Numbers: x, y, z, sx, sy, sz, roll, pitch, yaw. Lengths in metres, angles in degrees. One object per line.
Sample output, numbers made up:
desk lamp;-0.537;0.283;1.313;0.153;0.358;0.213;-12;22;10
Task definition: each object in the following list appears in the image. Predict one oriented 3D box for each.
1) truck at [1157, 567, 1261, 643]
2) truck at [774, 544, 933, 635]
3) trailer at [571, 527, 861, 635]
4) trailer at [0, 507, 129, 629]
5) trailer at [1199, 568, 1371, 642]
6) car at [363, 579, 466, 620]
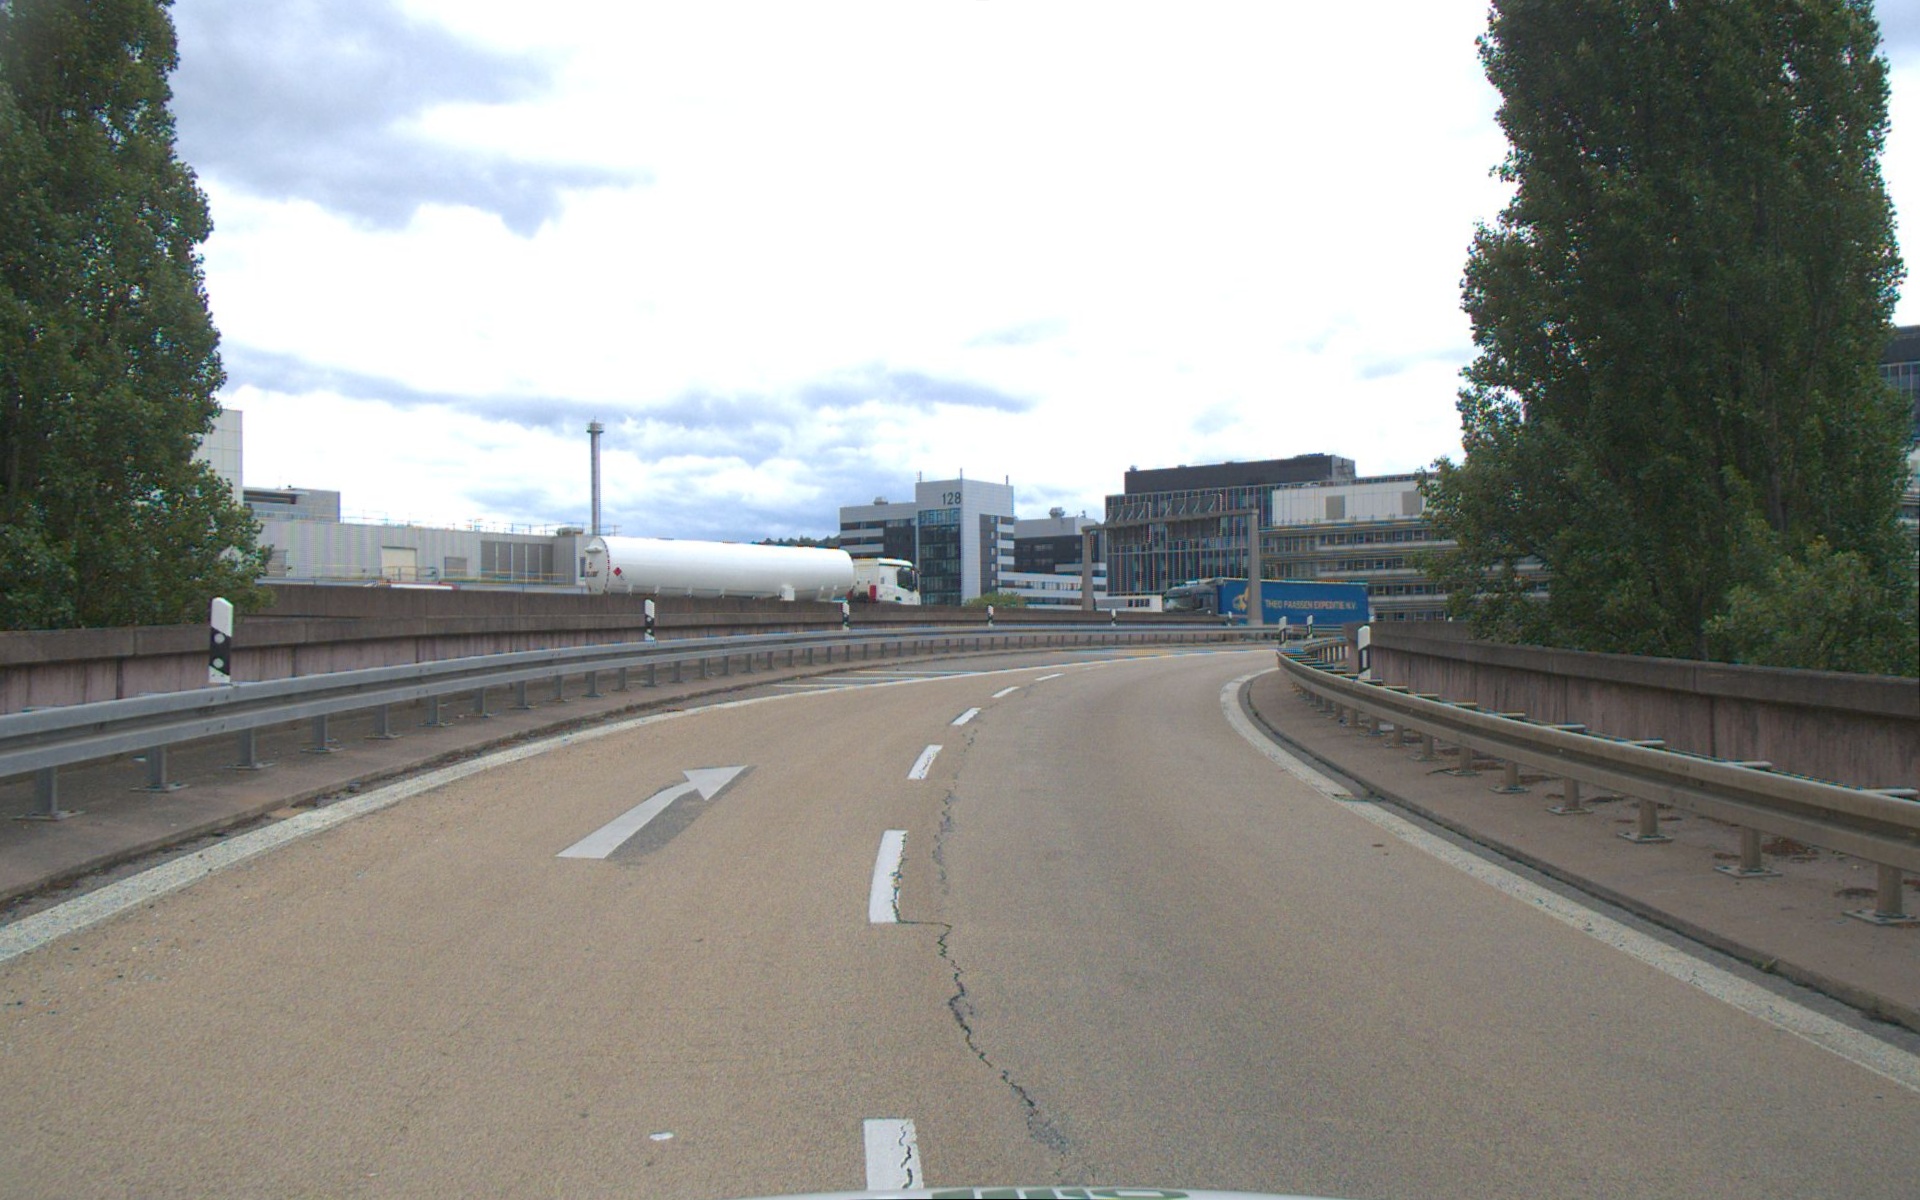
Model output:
truck;15.053;0.349;99.804;5.630;4.423;3.132;1;-2;-36
truck;-4.268;-0.347;66.786;5.902;3.491;2.741;1;-2;-38
trailer;-9.093;-0.586;63.013;11.038;3.803;2.763;1;-2;-38
trailer;-30.433;-0.964;52.133;7.236;3.755;2.663;1;-2;-38
trailer;20.555;0.426;103.905;12.380;4.423;3.130;1;-2;-37
car;-22.197;-0.013;67.337;3.608;1.544;1.668;1;2;-36
